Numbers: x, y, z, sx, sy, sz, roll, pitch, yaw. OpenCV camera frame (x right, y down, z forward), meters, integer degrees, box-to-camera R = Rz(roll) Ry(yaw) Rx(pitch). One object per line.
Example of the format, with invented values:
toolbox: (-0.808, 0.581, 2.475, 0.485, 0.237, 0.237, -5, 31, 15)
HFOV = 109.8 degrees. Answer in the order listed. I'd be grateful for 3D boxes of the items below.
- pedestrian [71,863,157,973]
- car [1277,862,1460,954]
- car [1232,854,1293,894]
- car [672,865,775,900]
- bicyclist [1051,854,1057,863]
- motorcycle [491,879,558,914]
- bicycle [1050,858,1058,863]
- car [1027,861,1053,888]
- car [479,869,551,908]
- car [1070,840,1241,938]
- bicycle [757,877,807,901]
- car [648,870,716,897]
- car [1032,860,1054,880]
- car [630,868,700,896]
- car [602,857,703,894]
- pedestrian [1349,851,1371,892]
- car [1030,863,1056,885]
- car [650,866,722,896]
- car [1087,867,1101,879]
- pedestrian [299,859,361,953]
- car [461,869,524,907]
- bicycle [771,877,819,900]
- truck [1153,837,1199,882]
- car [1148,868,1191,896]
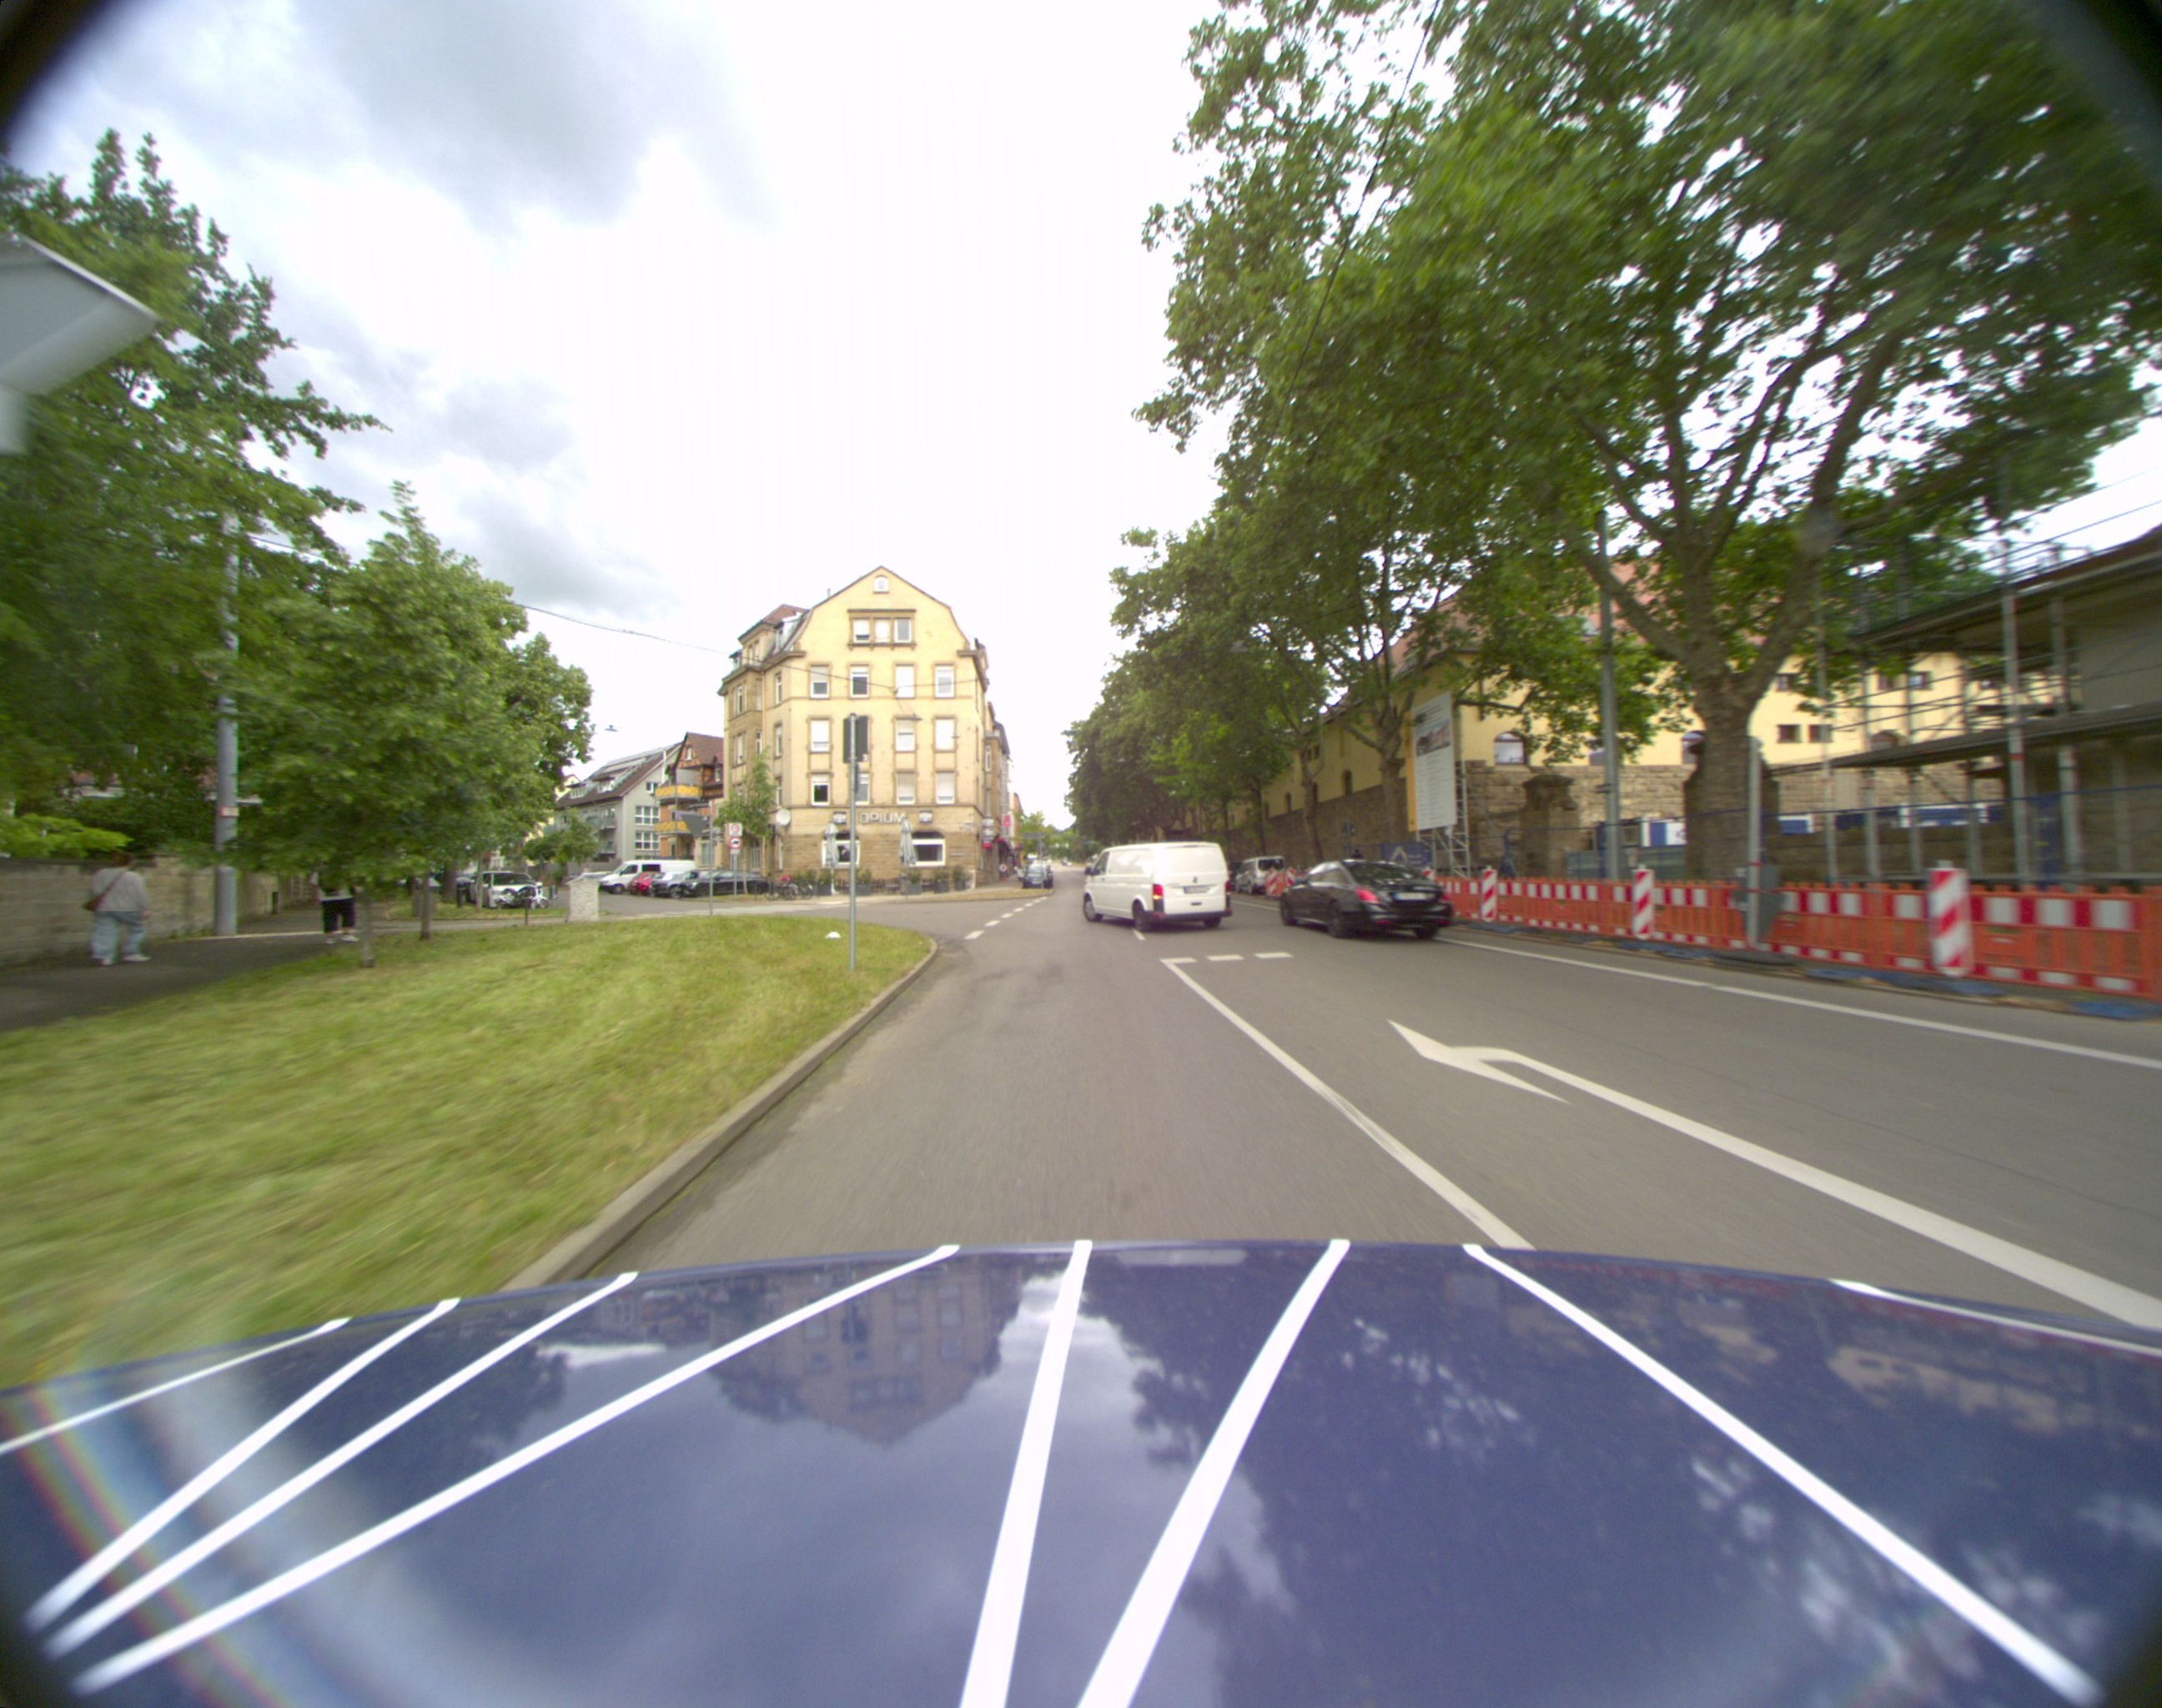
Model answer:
pedestrian: (-14.345, 0.927, 11.283, 0.582, 1.575, 0.573, 2, -1, -31)
car: (5.485, 0.938, 15.269, 1.806, 1.463, 4.849, -1, 0, 0)
car: (8.954, 0.957, 37.851, 1.839, 1.865, 4.415, -1, 0, -2)
car: (-18.457, 1.425, 39.362, 1.994, 1.586, 4.382, -1, 0, 42)
bicyclist: (-4.927, 0.746, 136.462, 0.748, 1.619, 0.683, -2, 1, 38)
motorcycle: (-21.209, 1.617, 28.970, 1.998, 1.163, 0.560, -3, 1, -6)
bicycle: (-4.829, 1.151, 136.460, 1.716, 0.986, 0.369, 0, 1, 37)
car: (-2.570, 1.258, 47.945, 1.569, 1.600, 3.653, -1, 0, -2)
car: (-23.652, 1.386, 31.678, 1.816, 1.490, 4.266, -1, 0, -45)
car: (1.534, 0.745, 18.237, 2.213, 1.920, 5.233, -2, 0, -16)
bicycle: (-13.680, 1.609, 34.721, 2.183, 1.060, 0.602, 0, 0, 16)
car: (-23.550, 1.731, 44.907, 1.469, 1.393, 3.184, -3, 1, 38)
car: (-3.319, 1.348, 65.308, 1.684, 1.653, 4.542, 1, 0, -5)
car: (-25.321, 1.707, 46.322, 1.545, 1.428, 3.301, -3, 1, 40)
car: (-28.440, 1.353, 50.540, 5.509, 2.278, 1.994, -1, 0, -42)
pedestrian: (12.488, 0.753, 34.020, 0.594, 1.789, 0.742, -3, 1, -2)
car: (-2.770, 1.379, 54.285, 1.743, 1.454, 4.773, 0, 0, -4)
car: (-22.069, 1.484, 42.511, 1.545, 1.527, 3.166, -3, 0, 37)
car: (1.653, 2.493, 99.019, 1.587, 1.455, 3.651, 1, 0, -2)
pedestrian: (-14.241, 0.969, 14.431, 0.713, 1.724, 0.659, -1, -1, -35)
car: (-27.921, 1.583, 35.992, 2.004, 1.586, 4.361, -3, 0, -42)
bicycle: (-13.418, 1.607, 35.663, 2.183, 1.060, 0.602, 0, 0, 16)
truck: (7.597, 0.439, 61.691, 2.221, 3.396, 7.245, -3, 0, -3)
car: (4.865, 1.510, 42.224, 1.704, 1.417, 4.248, -1, 0, -2)
